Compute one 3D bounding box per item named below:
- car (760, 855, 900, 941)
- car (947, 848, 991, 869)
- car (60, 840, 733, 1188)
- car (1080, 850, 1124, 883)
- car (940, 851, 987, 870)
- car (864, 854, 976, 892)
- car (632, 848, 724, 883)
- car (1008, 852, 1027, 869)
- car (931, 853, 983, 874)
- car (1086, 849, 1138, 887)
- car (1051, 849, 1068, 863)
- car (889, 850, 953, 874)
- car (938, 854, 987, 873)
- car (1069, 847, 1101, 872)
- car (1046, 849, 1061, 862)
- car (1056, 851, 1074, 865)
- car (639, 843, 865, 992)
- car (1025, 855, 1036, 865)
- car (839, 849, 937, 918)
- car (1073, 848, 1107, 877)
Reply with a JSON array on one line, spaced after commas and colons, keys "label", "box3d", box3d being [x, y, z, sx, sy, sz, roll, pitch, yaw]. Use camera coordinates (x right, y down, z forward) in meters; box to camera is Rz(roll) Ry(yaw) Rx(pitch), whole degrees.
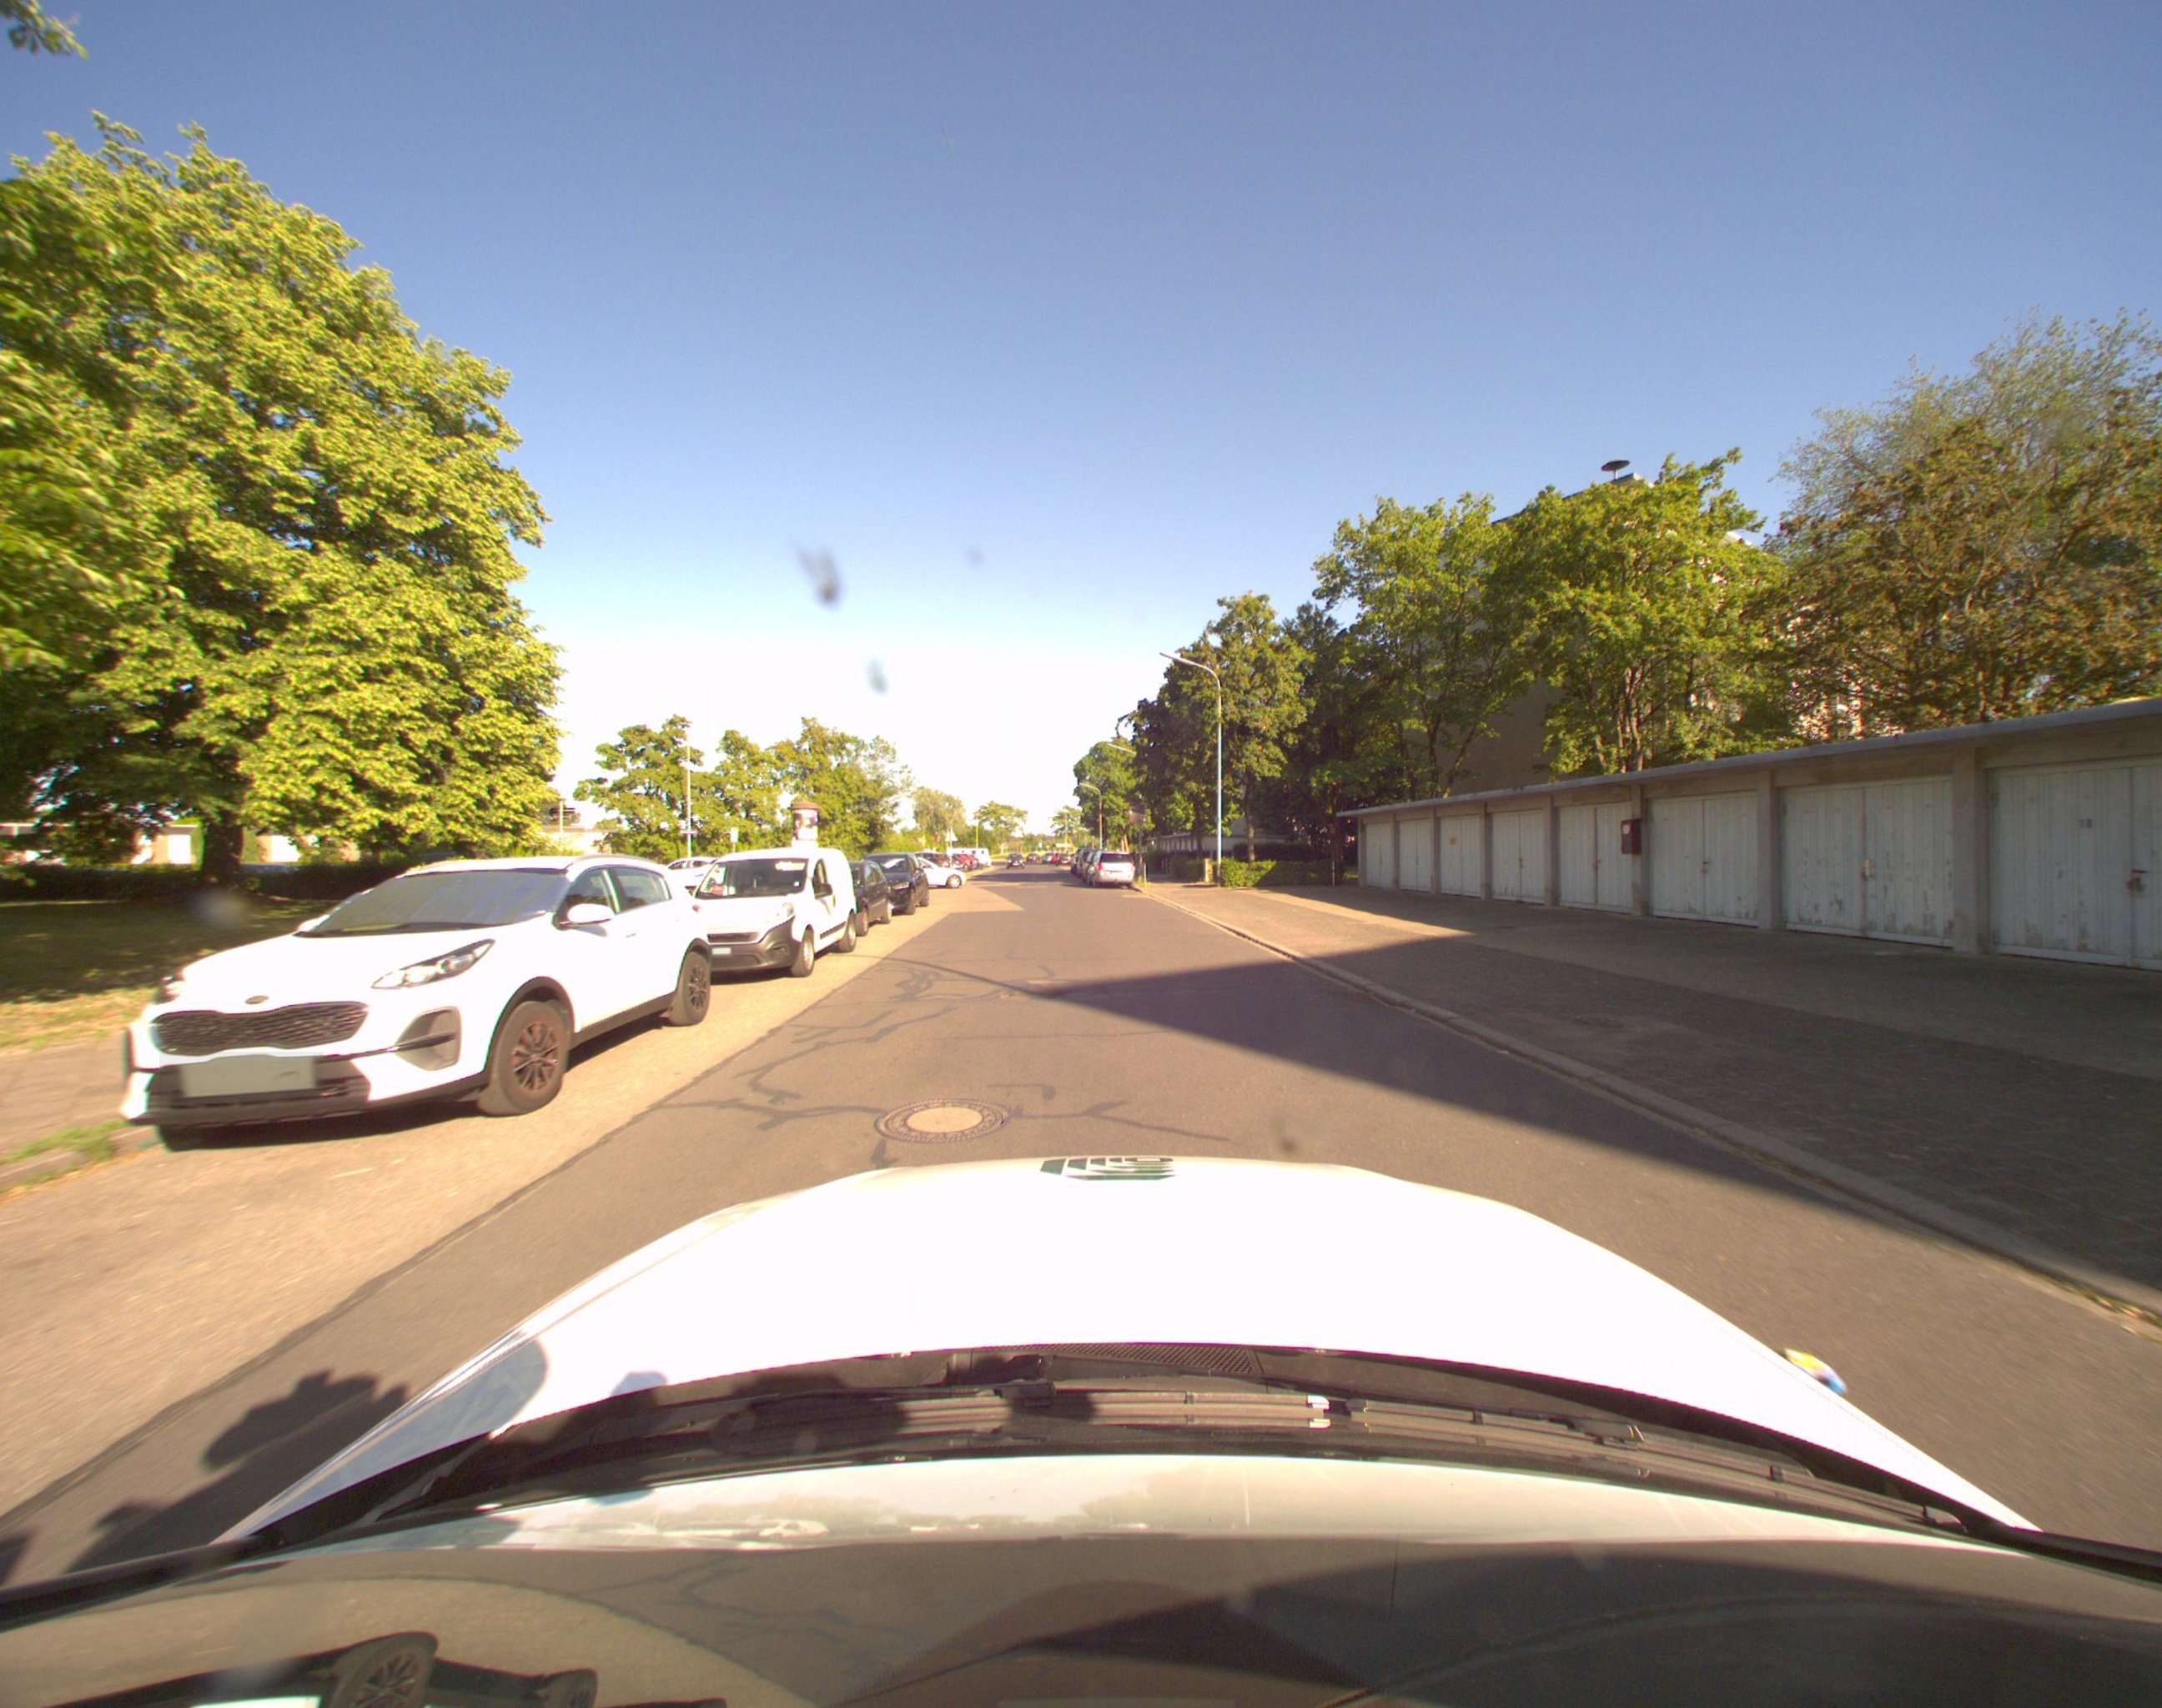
[{"label": "car", "box3d": [-5.017, 0.804, 16.867, 1.742, 1.478, 4.149, -2, 0, -3]}, {"label": "car", "box3d": [-10.596, 0.426, 76.962, 4.051, 1.992, 1.797, 0, 0, -8]}, {"label": "car", "box3d": [-4.357, 0.786, 6.301, 1.744, 1.669, 4.370, -2, 0, -5]}, {"label": "car", "box3d": [0.985, 0.580, 40.819, 1.793, 1.561, 3.945, 0, 0, -5]}, {"label": "car", "box3d": [-10.300, 0.560, 71.655, 4.051, 1.561, 1.797, 0, 0, -8]}, {"label": "car", "box3d": [-6.951, 0.784, 35.145, 4.408, 1.436, 1.828, -2, 0, -25]}, {"label": "car", "box3d": [-18.770, 0.532, 38.065, 3.495, 1.561, 1.603, 0, 0, -8]}, {"label": "car", "box3d": [-6.094, 0.634, 78.172, 1.793, 1.561, 3.945, 0, 0, -5]}, {"label": "car", "box3d": [-9.766, 0.746, 64.406, 4.051, 1.561, 1.797, 0, 0, -8]}, {"label": "car", "box3d": [1.275, 0.559, 35.473, 1.793, 1.561, 3.945, 0, 0, -5]}, {"label": "car", "box3d": [-2.625, 0.264, 97.918, 1.793, 1.643, 3.945, 0, 0, -5]}, {"label": "car", "box3d": [-10.515, 0.508, 53.753, 4.051, 1.561, 1.797, 0, 0, -8]}, {"label": "car", "box3d": [-9.956, 0.753, 68.476, 4.051, 1.561, 1.797, 0, 0, -8]}, {"label": "car", "box3d": [0.237, 0.384, 55.576, 1.793, 1.643, 3.945, 0, 0, -5]}, {"label": "car", "box3d": [-3.697, 0.203, 107.982, 1.793, 1.643, 3.945, 1, 0, -5]}, {"label": "car", "box3d": [-1.794, 0.459, 90.521, 1.793, 1.548, 3.945, 0, 0, -5]}, {"label": "car", "box3d": [-4.486, 0.747, 11.805, 1.742, 1.732, 4.001, -2, 0, -3]}, {"label": "car", "box3d": [-8.138, 1.016, 130.928, 1.677, 1.513, 4.097, 1, 0, -5]}, {"label": "car", "box3d": [-5.050, 0.704, 21.862, 1.742, 1.613, 4.303, -2, 0, -3]}, {"label": "car", "box3d": [0.533, 0.523, 51.382, 1.793, 1.786, 3.945, 0, 0, -5]}]
